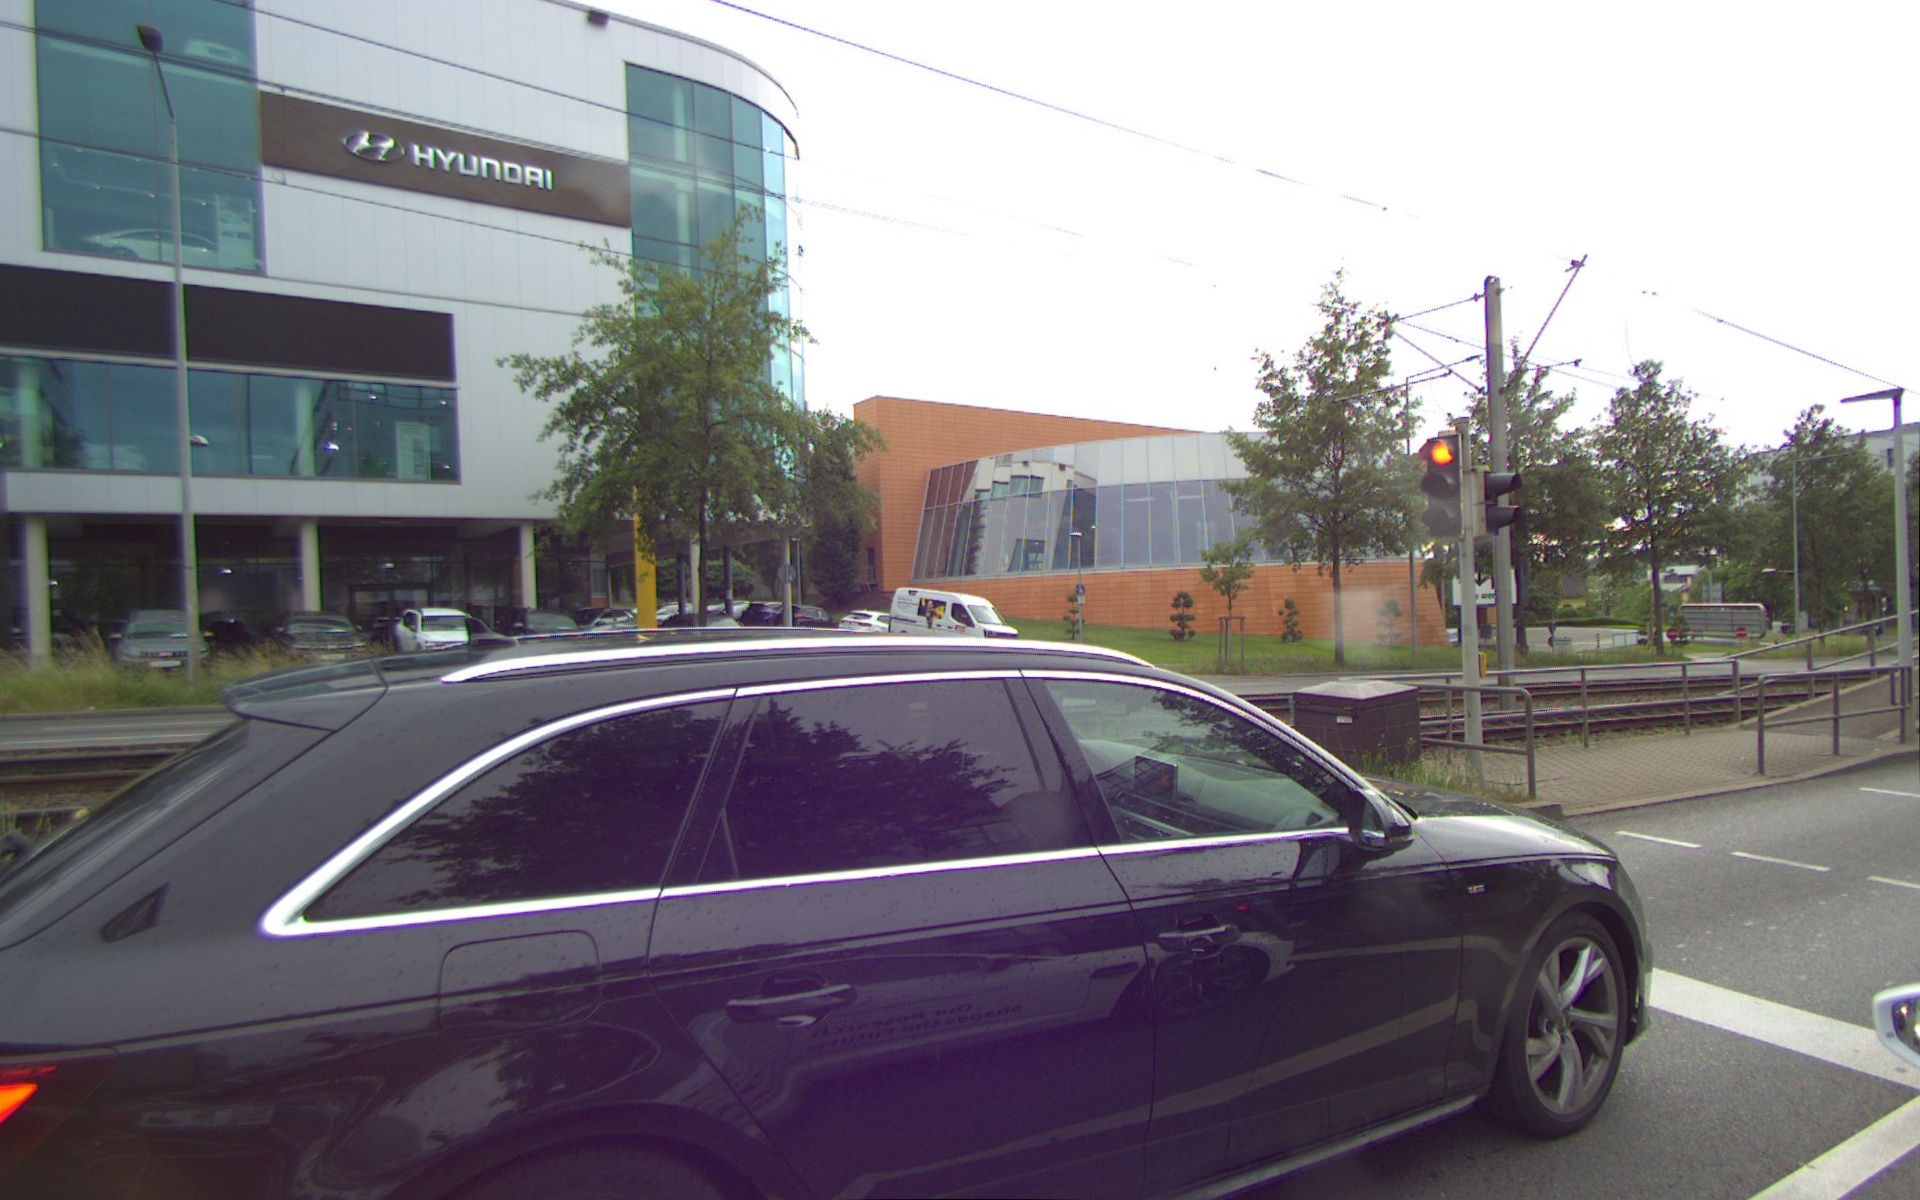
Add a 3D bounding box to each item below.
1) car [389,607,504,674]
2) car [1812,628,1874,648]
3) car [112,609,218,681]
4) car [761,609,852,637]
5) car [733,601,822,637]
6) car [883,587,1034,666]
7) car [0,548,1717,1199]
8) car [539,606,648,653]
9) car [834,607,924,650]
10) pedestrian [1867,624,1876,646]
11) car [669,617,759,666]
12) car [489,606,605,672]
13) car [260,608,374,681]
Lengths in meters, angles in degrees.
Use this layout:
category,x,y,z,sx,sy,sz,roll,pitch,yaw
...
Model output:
category,x,y,z,sx,sy,sz,roll,pitch,yaw
car,-14.500,1.075,28.245,1.984,1.571,4.324,1,1,-40
car,67.478,2.864,76.804,1.408,1.405,3.371,0,0,-13
car,-19.867,1.059,25.063,1.917,1.479,3.974,1,1,-40
car,-7.220,1.066,47.514,1.969,1.297,3.982,0,-1,39
car,-8.870,0.912,49.078,1.969,1.653,3.982,0,-1,39
car,-0.121,0.916,38.110,5.544,2.616,2.392,3,1,43
car,0.067,0.718,2.847,4.461,1.486,1.772,1,-1,-31
car,-12.833,1.013,35.339,1.691,1.572,3.587,0,-1,20
car,-3.341,1.164,42.160,1.703,1.688,3.734,1,-1,38
pedestrian,79.354,3.029,87.459,0.484,1.946,0.473,1,0,-30
car,-7.836,1.272,31.799,1.565,1.409,3.619,0,-1,-36
car,-12.348,1.099,29.892,1.984,1.637,4.324,1,1,-40
car,-16.957,1.106,26.390,1.984,1.571,4.324,1,1,-40
